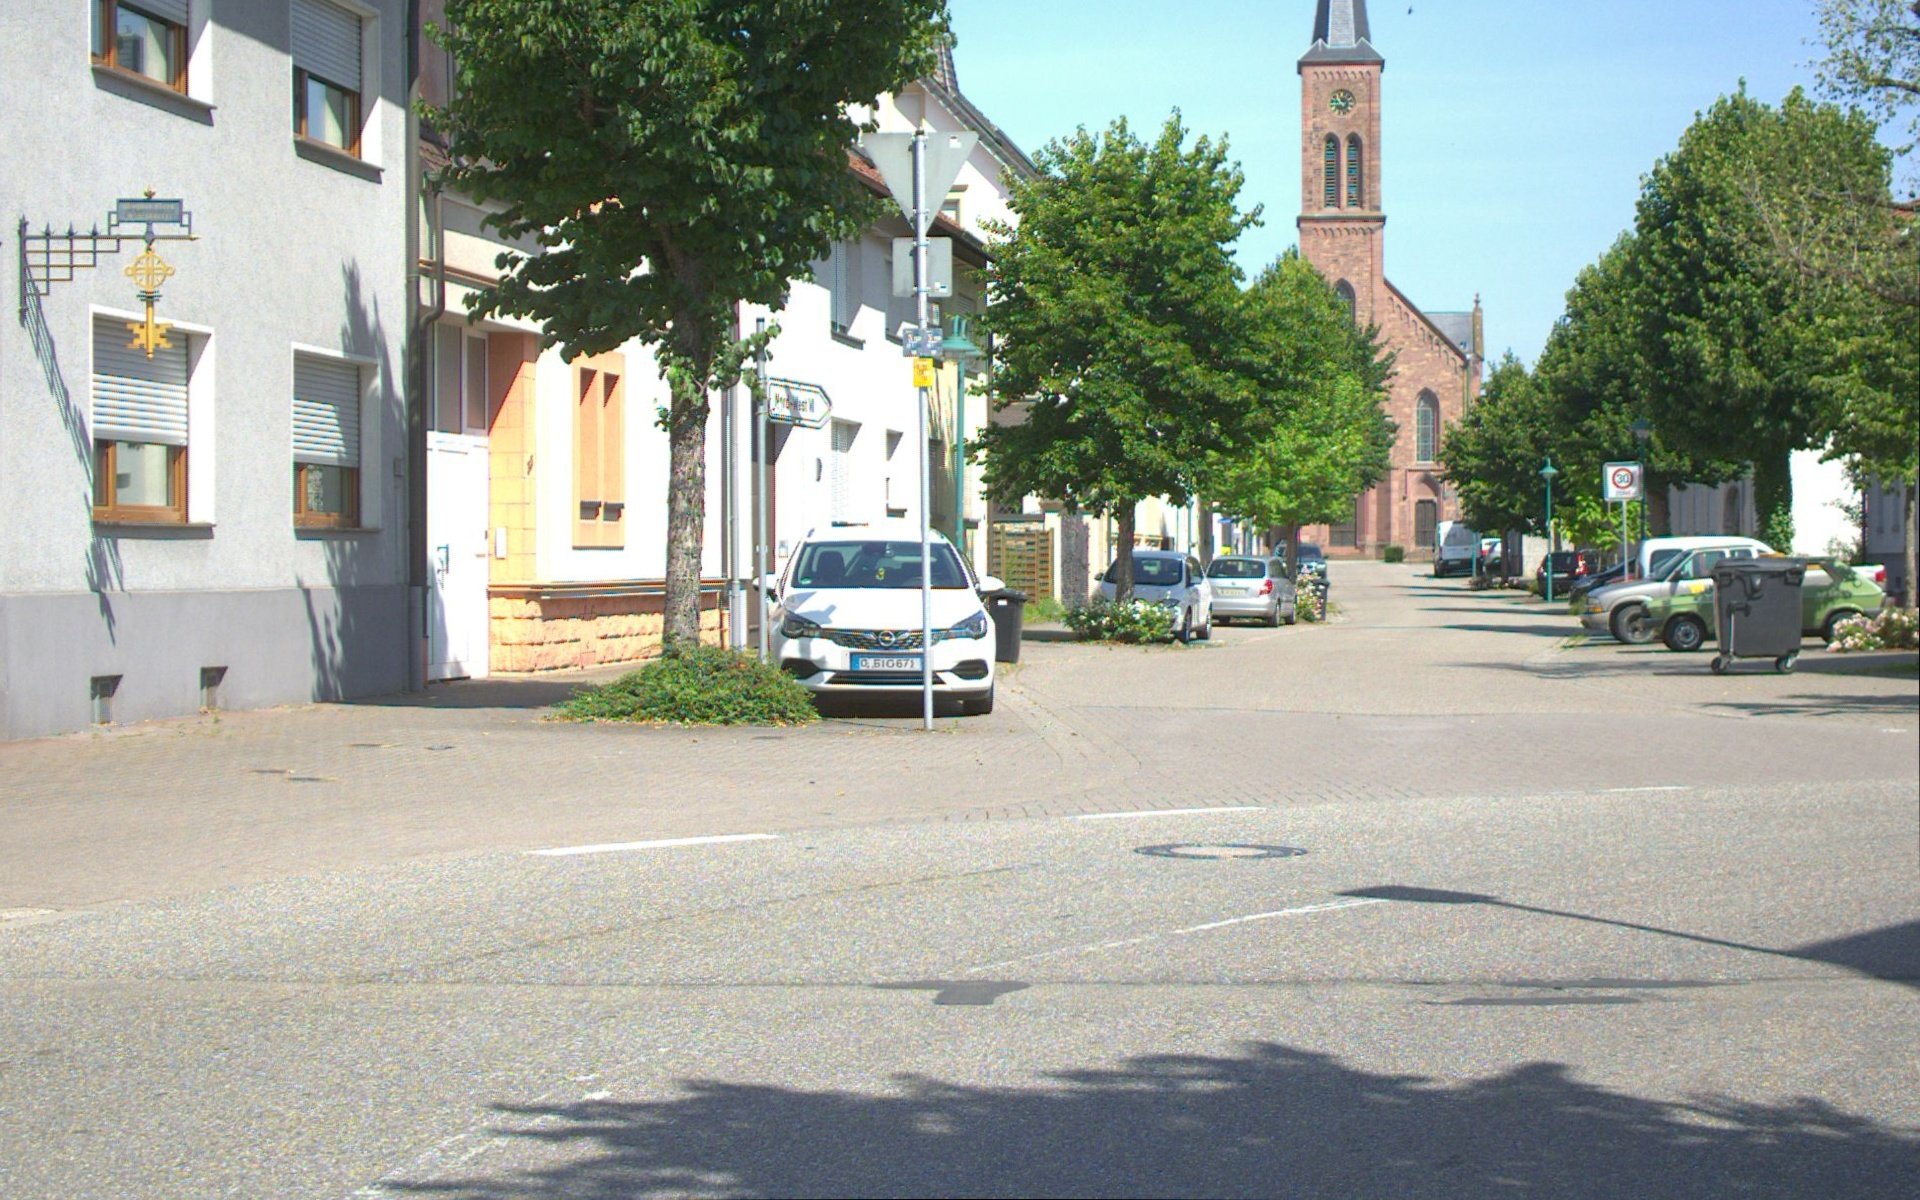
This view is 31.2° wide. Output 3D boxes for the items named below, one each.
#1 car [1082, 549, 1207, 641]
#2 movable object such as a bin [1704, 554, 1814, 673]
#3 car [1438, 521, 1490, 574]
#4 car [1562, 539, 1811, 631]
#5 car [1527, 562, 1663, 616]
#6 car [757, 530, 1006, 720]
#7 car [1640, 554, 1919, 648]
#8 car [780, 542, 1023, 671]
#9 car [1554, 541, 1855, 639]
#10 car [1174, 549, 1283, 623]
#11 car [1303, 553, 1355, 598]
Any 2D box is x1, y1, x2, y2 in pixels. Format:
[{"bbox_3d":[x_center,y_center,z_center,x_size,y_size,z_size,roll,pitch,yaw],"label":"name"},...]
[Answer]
[{"bbox_3d":[3.296,-0.114,60.790,1.994,1.568,3.999,0,1,6],"label":"car"},{"bbox_3d":[9.040,0.147,38.915,1.188,1.333,0.788,0,1,12],"label":"movable object such as a bin"},{"bbox_3d":[22.914,-2.378,156.439,2.245,2.271,4.501,2,0,8],"label":"car"},{"bbox_3d":[12.788,-0.278,60.724,4.151,1.563,1.999,0,1,8],"label":"car"},{"bbox_3d":[19.712,-0.355,106.815,3.988,1.612,2.000,0,1,6],"label":"car"},{"bbox_3d":[-0.724,0.149,28.304,1.849,1.435,4.514,0,1,-4],"label":"car"},{"bbox_3d":[12.240,0.005,51.424,3.925,1.340,1.999,0,1,8],"label":"car"},{"bbox_3d":[-0.620,0.027,41.337,1.985,1.435,5.209,0,1,10],"label":"car"},{"bbox_3d":[12.494,-0.188,57.950,4.805,1.618,1.999,0,1,8],"label":"car"},{"bbox_3d":[5.550,-0.314,71.463,1.993,1.459,4.000,1,1,1],"label":"car"},{"bbox_3d":[15.181,-1.011,141.673,1.994,1.809,4.000,0,1,4],"label":"car"}]
